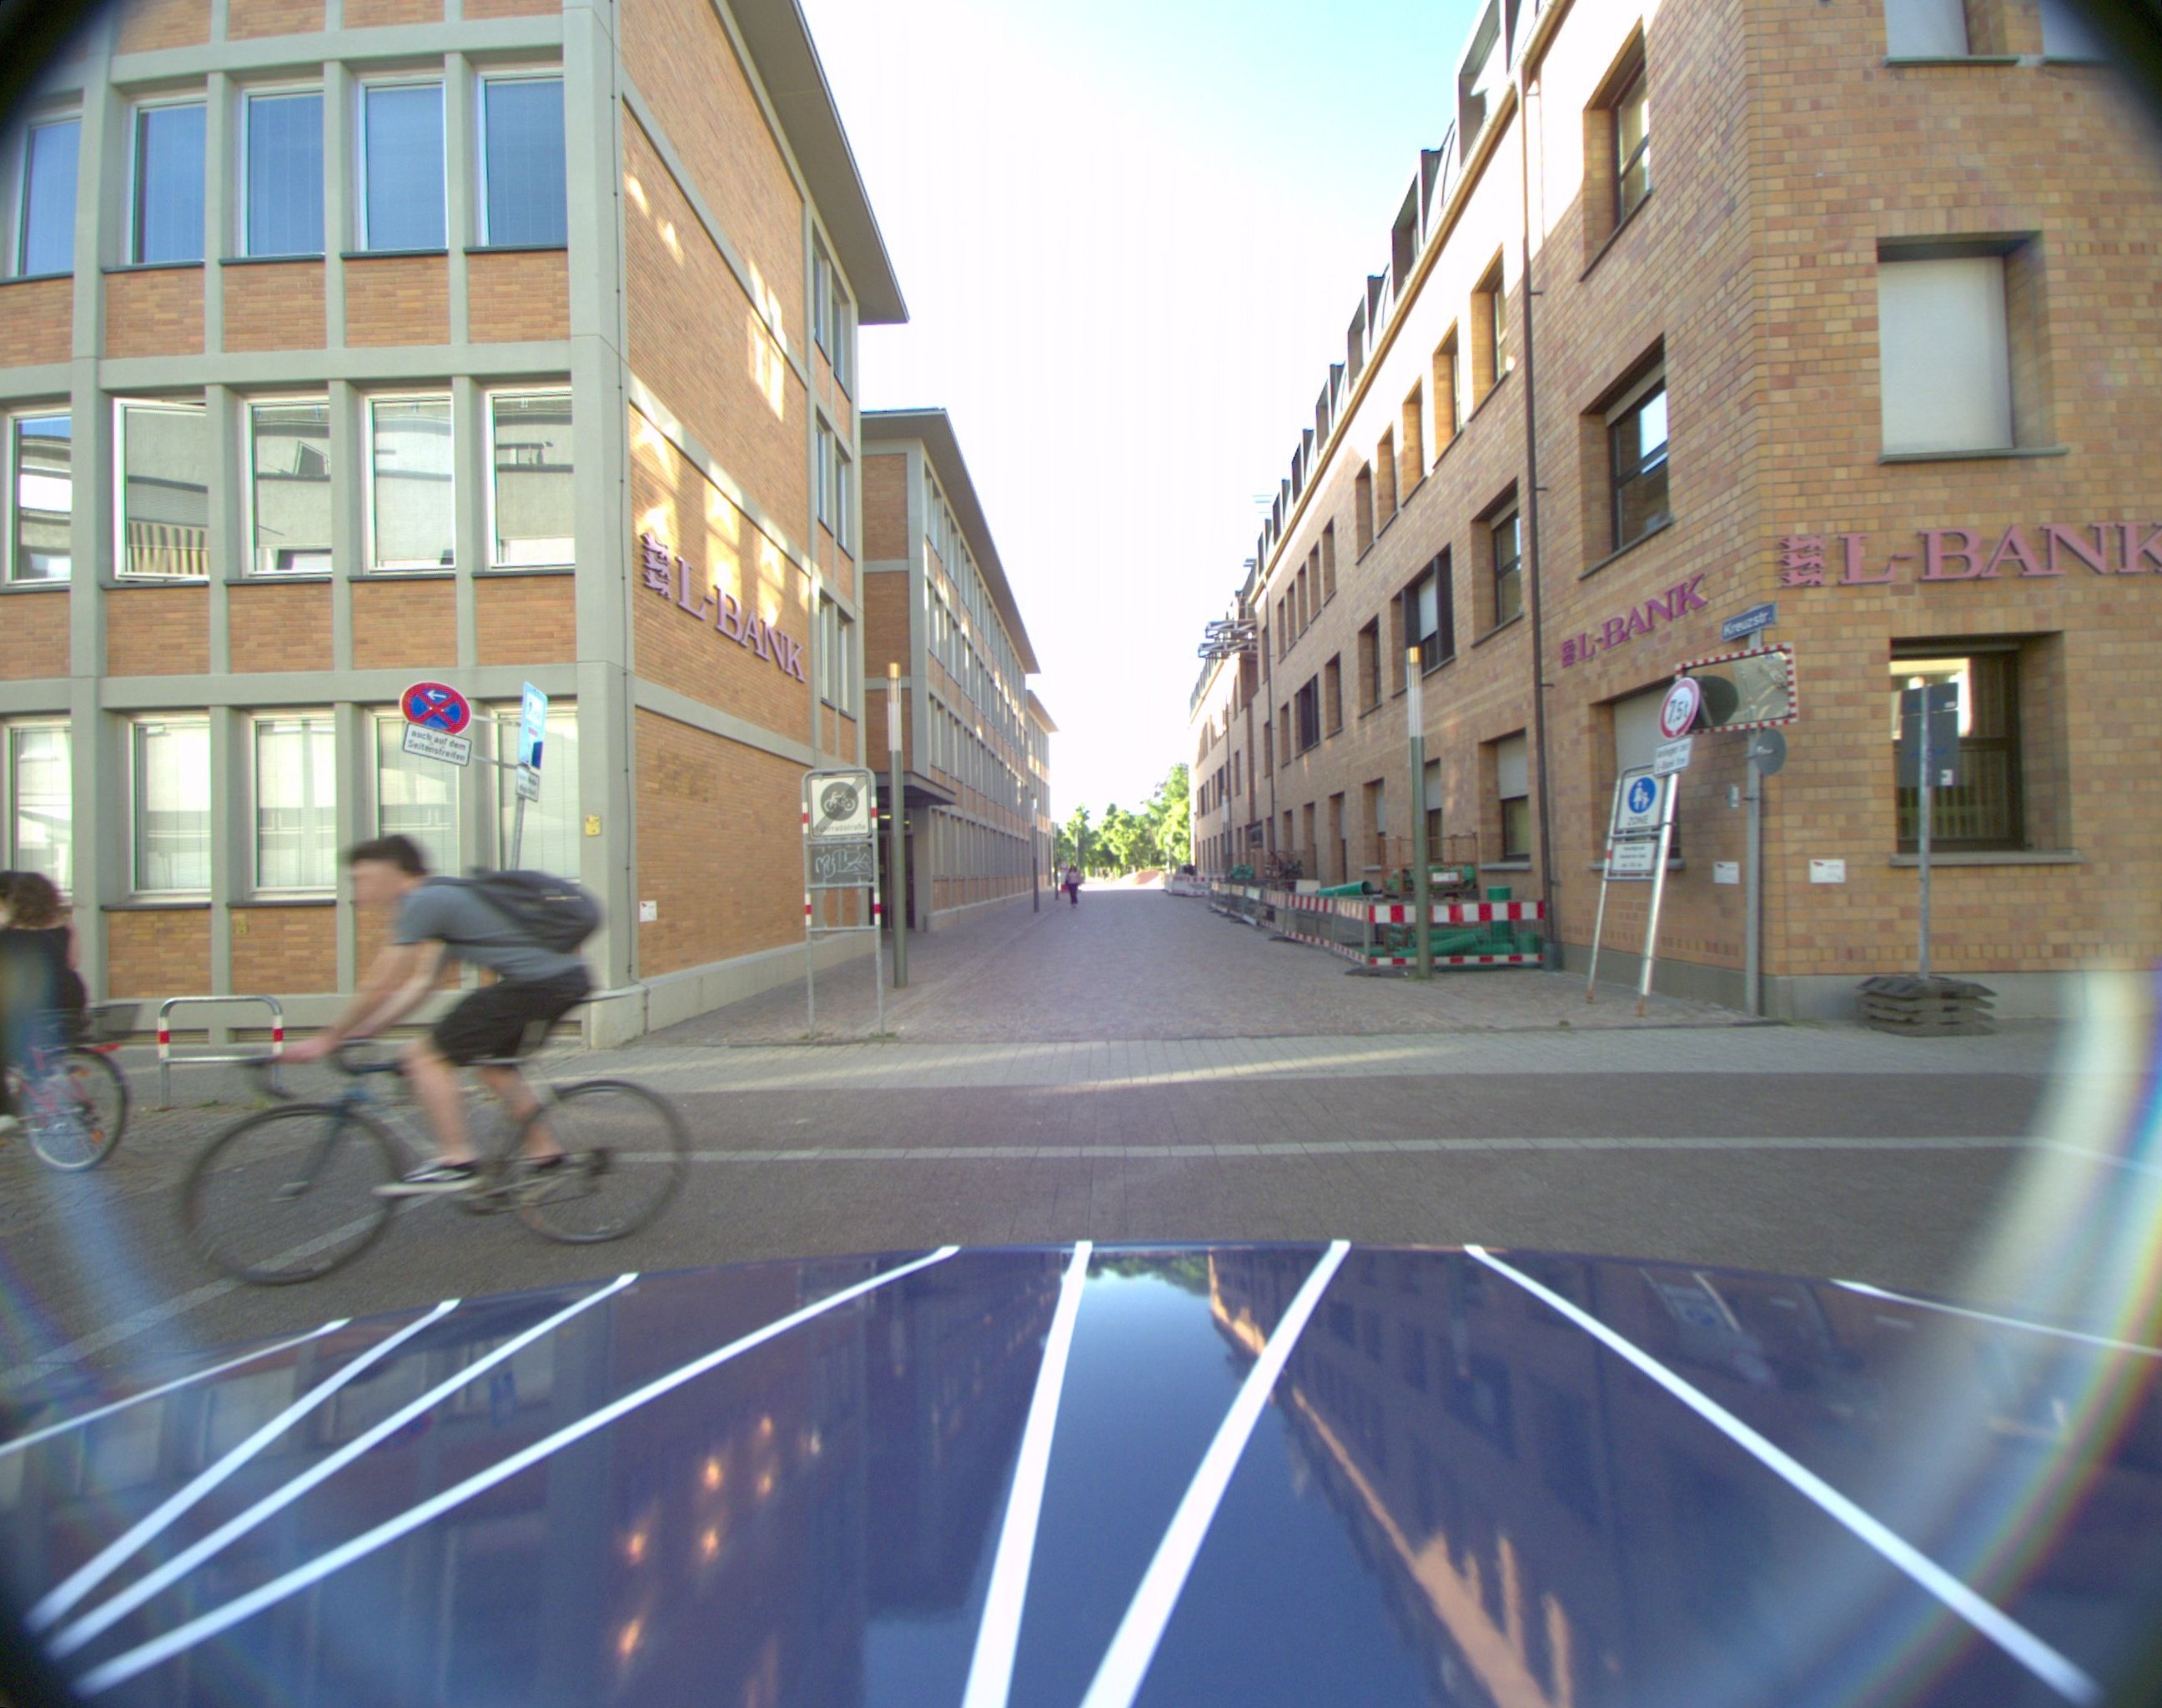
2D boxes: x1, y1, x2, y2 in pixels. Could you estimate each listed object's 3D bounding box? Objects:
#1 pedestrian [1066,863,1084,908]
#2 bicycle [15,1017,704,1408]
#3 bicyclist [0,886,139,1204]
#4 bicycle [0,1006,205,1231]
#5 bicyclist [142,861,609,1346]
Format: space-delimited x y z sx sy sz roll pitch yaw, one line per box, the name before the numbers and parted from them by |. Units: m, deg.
pedestrian | -0.242 1.291 30.998 0.638 1.774 0.653 -1 -3 2
bicycle | -2.522 1.236 2.906 1.837 1.044 0.573 0 -4 -13
bicyclist | -6.069 1.022 4.234 0.823 1.656 0.620 -1 -3 2
bicycle | -6.089 1.432 4.215 1.799 1.045 0.592 -1 -2 2
bicyclist | -2.570 0.816 2.917 1.110 1.549 0.649 -1 0 -14
